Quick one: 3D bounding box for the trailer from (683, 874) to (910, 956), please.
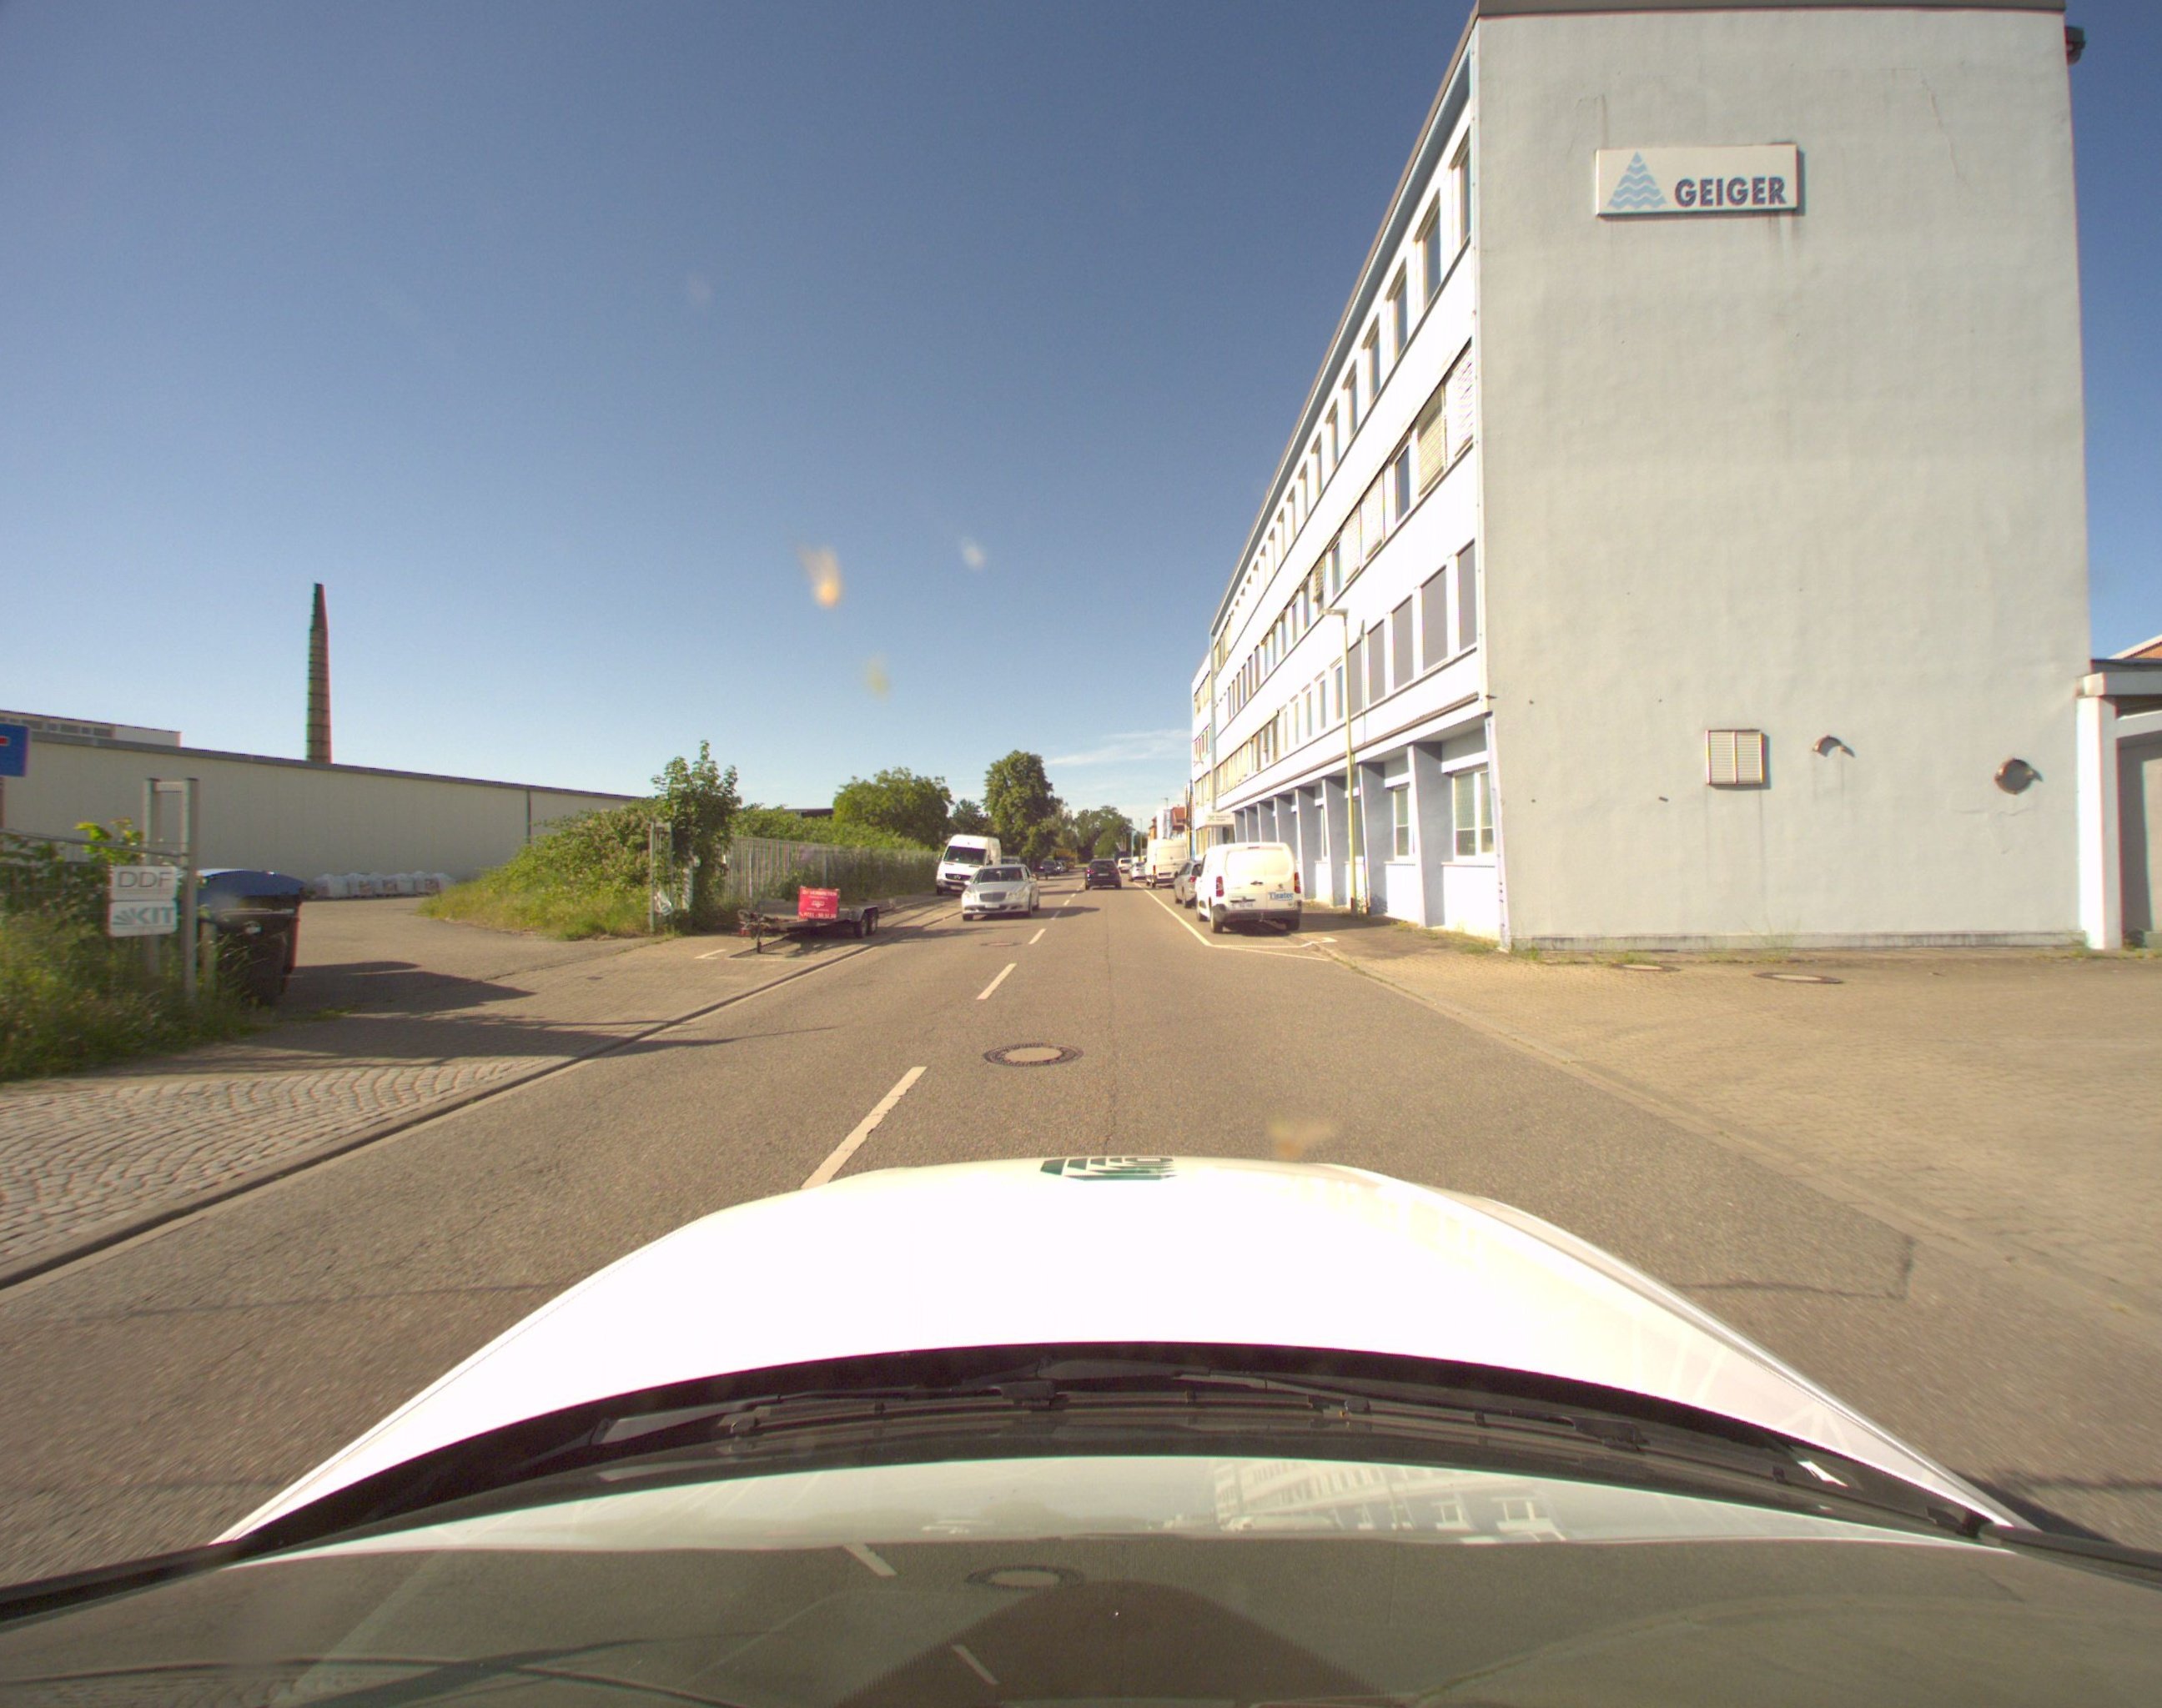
[{"bbox_3d":[-5.497,1.111,16.983,2.367,1.080,6.247,3,1,1],"label":"trailer"}]

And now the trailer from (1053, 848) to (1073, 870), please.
[{"bbox_3d":[-2.783,0.803,129.190,2.981,3.443,8.160,-1,-1,0],"label":"trailer"}]

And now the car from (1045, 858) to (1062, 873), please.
[{"bbox_3d":[-3.284,1.421,98.971,1.902,1.662,4.461,3,0,-1],"label":"car"}]

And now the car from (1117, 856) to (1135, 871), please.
[{"bbox_3d":[5.518,1.155,100.055,1.879,1.798,5.103,1,-1,0],"label":"car"}]

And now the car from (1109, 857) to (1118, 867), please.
[{"bbox_3d":[6.673,1.623,166.572,1.867,2.014,5.162,1,-1,2],"label":"car"}]

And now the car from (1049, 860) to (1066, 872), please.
[{"bbox_3d":[-3.184,1.618,112.344,1.901,1.593,5.027,3,0,2],"label":"car"}]

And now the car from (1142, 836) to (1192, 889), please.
[{"bbox_3d":[4.592,0.408,44.229,1.987,2.597,6.050,-3,1,0],"label":"car"}]

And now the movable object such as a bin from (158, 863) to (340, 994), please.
[{"bbox_3d":[-9.788,0.809,9.589,1.603,1.405,1.102,-1,-1,29],"label":"movable object such as a bin"}]

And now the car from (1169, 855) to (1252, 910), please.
[{"bbox_3d":[4.012,0.834,26.008,1.883,1.560,5.090,0,0,0],"label":"car"}]

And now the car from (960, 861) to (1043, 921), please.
[{"bbox_3d":[-2.135,0.951,22.983,1.740,1.447,4.362,-1,0,2],"label":"car"}]

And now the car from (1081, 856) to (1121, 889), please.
[{"bbox_3d":[1.017,0.869,40.280,1.840,1.530,4.002,-1,0,2],"label":"car"}]

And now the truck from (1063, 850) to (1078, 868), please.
[{"bbox_3d":[-2.184,1.037,172.793,2.622,3.505,8.660,5,1,2],"label":"truck"}]

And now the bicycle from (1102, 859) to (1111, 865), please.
[{"bbox_3d":[5.568,1.778,179.286,0.809,1.268,2.235,2,-1,-33],"label":"bicycle"}]

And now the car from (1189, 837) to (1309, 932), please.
[{"bbox_3d":[3.577,0.611,18.303,1.881,1.832,5.094,0,0,3],"label":"car"}]

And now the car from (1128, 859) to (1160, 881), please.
[{"bbox_3d":[4.273,1.084,55.705,1.888,1.405,5.124,1,-1,1],"label":"car"}]

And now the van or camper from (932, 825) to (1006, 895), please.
[{"bbox_3d":[-4.800,0.260,35.916,1.958,2.685,5.952,4,0,3],"label":"van or camper"}]

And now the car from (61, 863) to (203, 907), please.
[{"bbox_3d":[-36.376,1.174,31.240,4.128,1.574,1.856,-1,0,14],"label":"car"}]

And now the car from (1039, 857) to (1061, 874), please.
[{"bbox_3d":[-3.296,1.195,87.477,1.784,1.731,4.806,-1,0,3],"label":"car"}]

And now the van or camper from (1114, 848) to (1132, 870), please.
[{"bbox_3d":[5.453,0.630,106.507,2.133,2.759,6.162,1,-1,1],"label":"van or camper"}]

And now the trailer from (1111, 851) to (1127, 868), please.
[{"bbox_3d":[6.292,0.943,136.525,2.451,2.673,5.702,-1,-1,1],"label":"trailer"}]

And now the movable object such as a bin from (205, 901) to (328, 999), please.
[{"bbox_3d":[-8.797,1.008,8.813,0.609,0.972,0.753,-2,-2,26],"label":"movable object such as a bin"}]

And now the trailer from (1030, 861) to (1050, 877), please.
[{"bbox_3d":[-3.493,1.292,70.092,1.471,1.354,3.079,1,-1,1],"label":"trailer"}]
